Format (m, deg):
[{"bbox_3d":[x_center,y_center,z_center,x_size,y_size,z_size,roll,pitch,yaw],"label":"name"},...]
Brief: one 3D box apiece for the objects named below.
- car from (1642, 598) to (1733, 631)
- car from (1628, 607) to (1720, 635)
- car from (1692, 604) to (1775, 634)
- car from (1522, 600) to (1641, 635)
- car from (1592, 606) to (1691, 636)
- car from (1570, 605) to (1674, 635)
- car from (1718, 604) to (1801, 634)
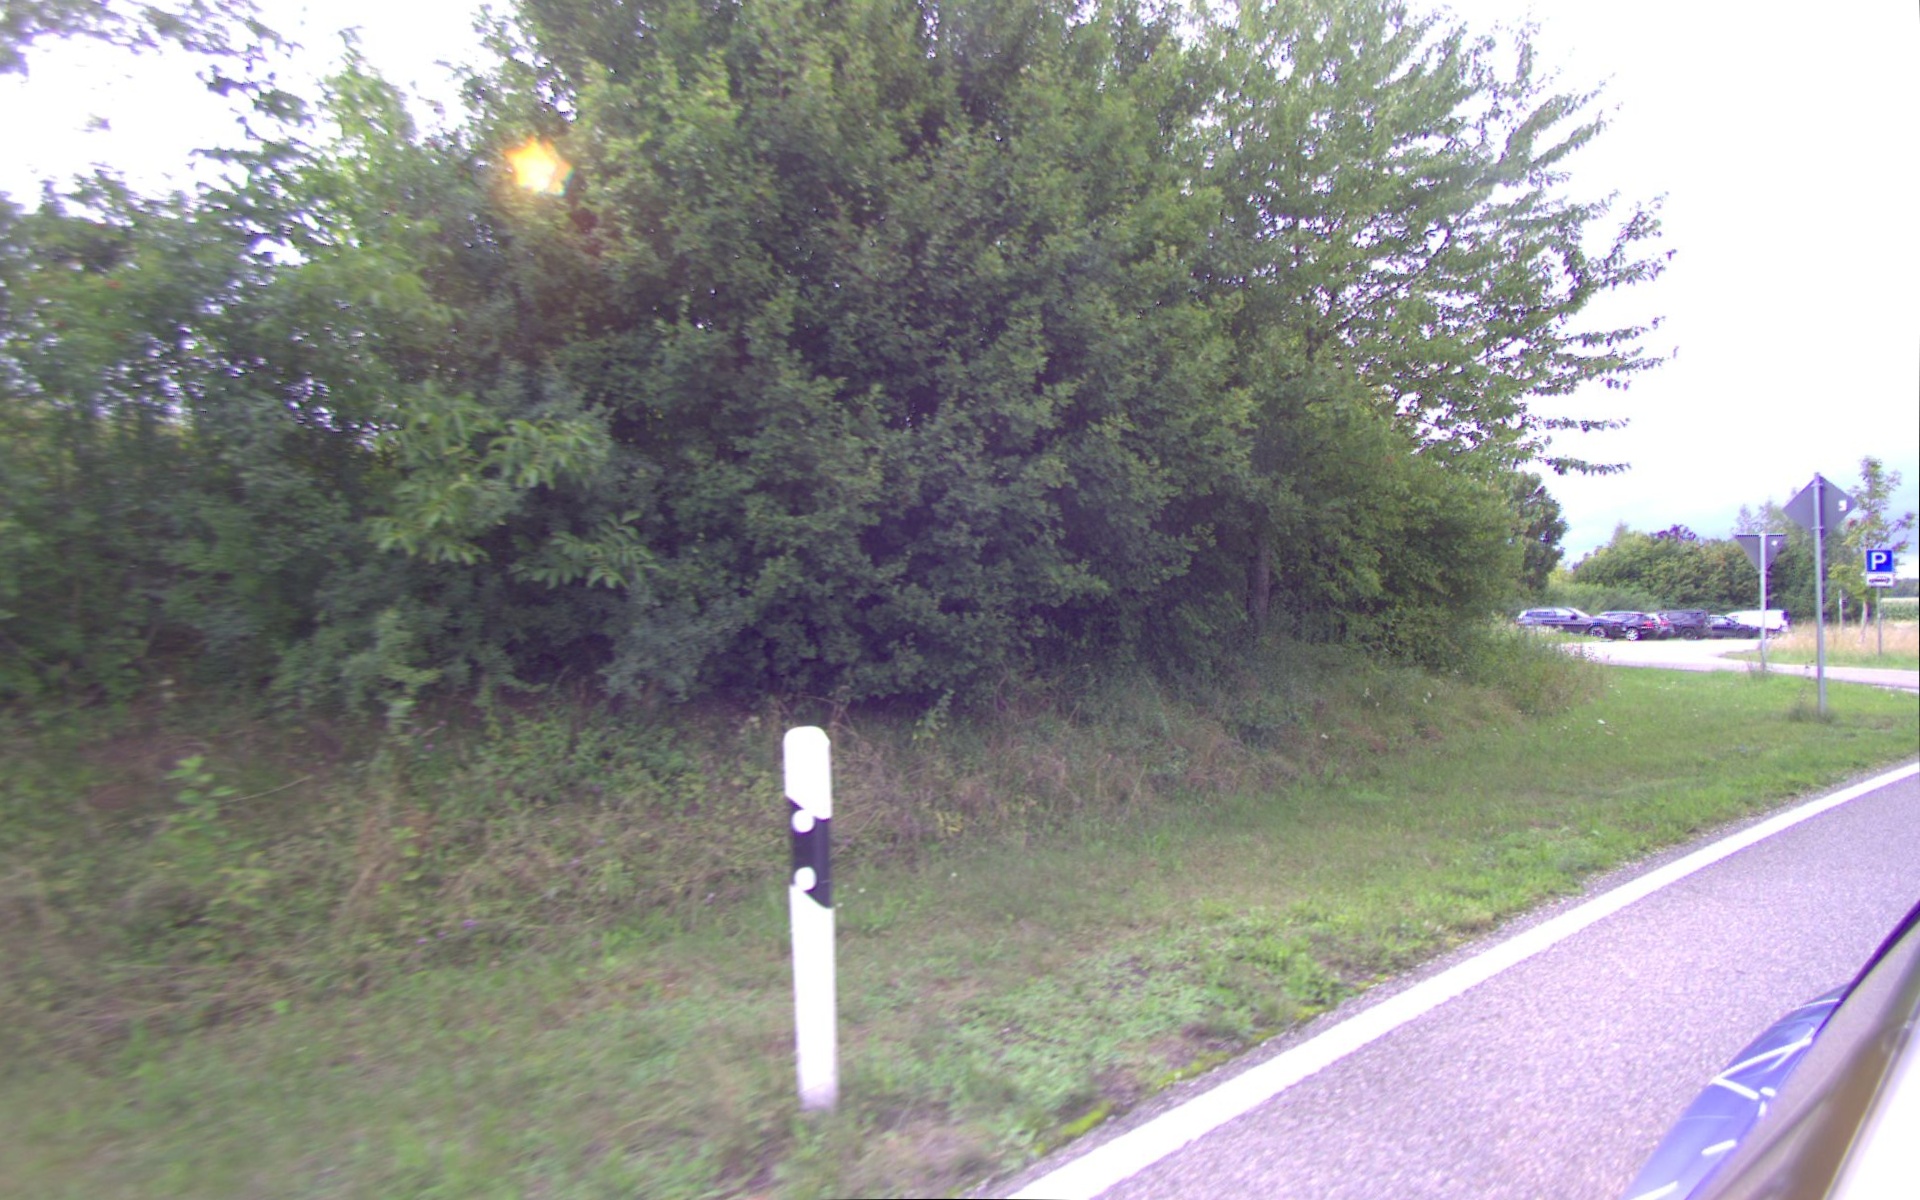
[{"bbox_3d":[43.020,0.853,59.907,1.964,1.883,3.995,0,0,-39],"label":"car"},{"bbox_3d":[40.894,1.185,58.009,1.966,1.516,3.990,0,0,-43],"label":"car"},{"bbox_3d":[49.694,1.194,65.057,1.713,1.883,3.995,0,0,-39],"label":"car"},{"bbox_3d":[29.505,0.791,48.101,1.966,1.601,4.482,0,0,-43],"label":"car"},{"bbox_3d":[36.496,1.067,54.267,2.013,1.524,4.008,0,0,-37],"label":"car"},{"bbox_3d":[33.941,0.995,51.931,1.966,1.432,4.156,0,0,-43],"label":"car"},{"bbox_3d":[52.485,1.210,66.471,1.964,1.883,3.995,0,0,-39],"label":"car"}]
